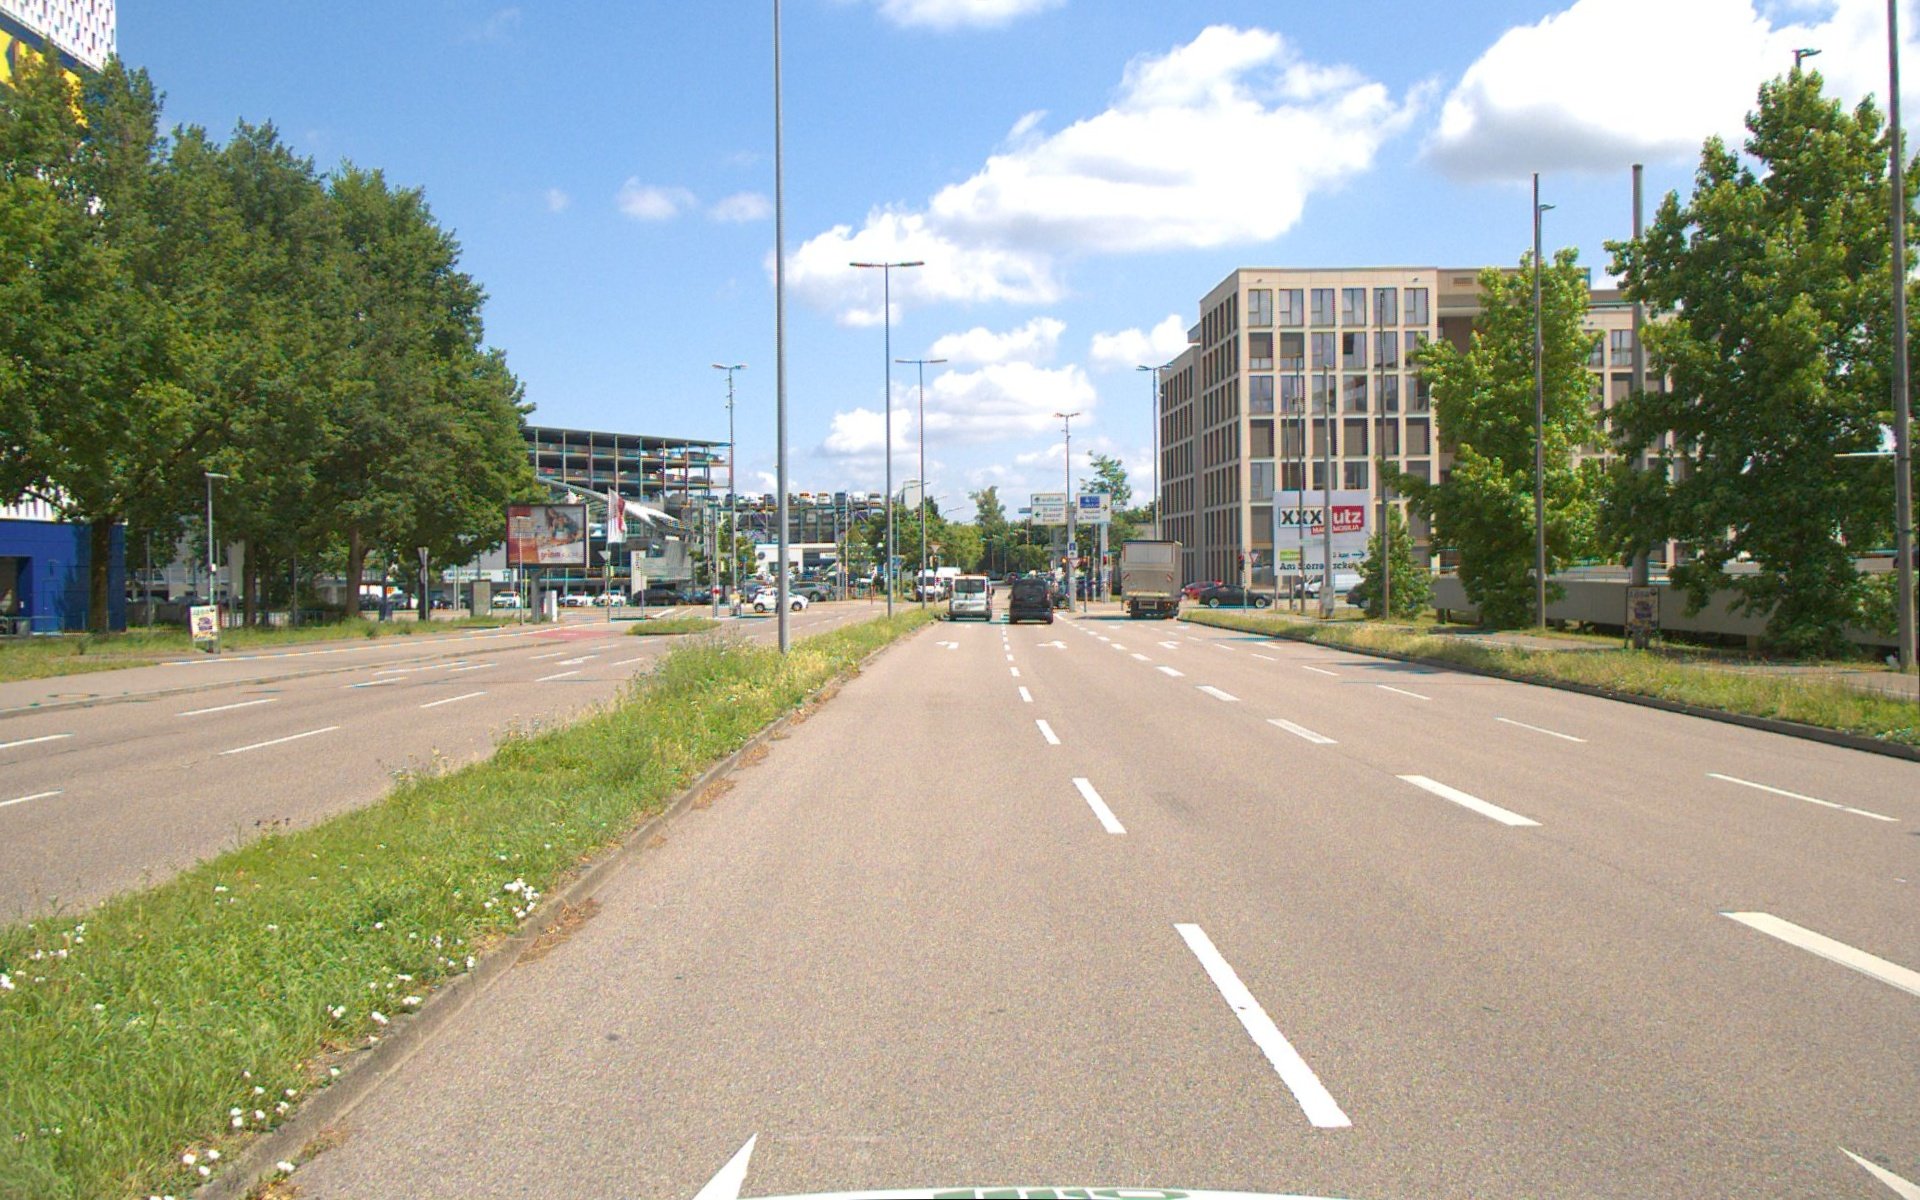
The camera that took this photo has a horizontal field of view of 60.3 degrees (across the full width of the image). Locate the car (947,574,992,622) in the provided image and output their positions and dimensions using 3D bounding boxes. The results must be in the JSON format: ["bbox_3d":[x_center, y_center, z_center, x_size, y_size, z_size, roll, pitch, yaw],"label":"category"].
[{"bbox_3d":[0.464,-0.125,74.361,1.817,2.053,4.002,0,1,3],"label":"car"}]

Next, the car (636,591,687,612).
[{"bbox_3d":[-22.905,0.128,127.040,3.717,1.539,1.678,-1,1,-4],"label":"car"}]

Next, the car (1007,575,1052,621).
[{"bbox_3d":[2.949,-0.110,69.371,1.781,1.840,4.002,0,1,4],"label":"car"}]

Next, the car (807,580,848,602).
[{"bbox_3d":[-11.507,-0.811,143.787,3.438,1.742,1.603,-2,1,-3],"label":"car"}]

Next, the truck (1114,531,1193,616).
[{"bbox_3d":[9.897,-1.413,83.583,3.063,4.008,8.867,1,2,12],"label":"truck"}]

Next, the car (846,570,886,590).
[{"bbox_3d":[-9.381,-2.007,164.285,3.909,1.959,1.825,0,0,-5],"label":"car"}]

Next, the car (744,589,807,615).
[{"bbox_3d":[-11.432,0.106,102.444,3.775,1.492,1.694,-1,1,-4],"label":"car"}]

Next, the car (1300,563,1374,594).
[{"bbox_3d":[28.680,-1.631,125.894,5.379,2.294,2.002,0,1,10],"label":"car"}]

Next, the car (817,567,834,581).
[{"bbox_3d":[-15.026,-2.930,184.976,1.809,1.556,3.998,-1,1,-3],"label":"car"}]

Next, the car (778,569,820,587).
[{"bbox_3d":[-15.966,-2.202,163.746,4.083,1.742,1.687,1,1,-5],"label":"car"}]

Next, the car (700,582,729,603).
[{"bbox_3d":[-19.000,-0.592,127.785,1.787,1.579,3.983,0,1,-15],"label":"car"}]

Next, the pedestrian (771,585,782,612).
[{"bbox_3d":[-10.456,-0.077,94.305,0.460,1.538,0.511,0,0,26],"label":"pedestrian"}]

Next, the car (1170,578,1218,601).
[{"bbox_3d":[16.640,-0.775,117.919,3.206,1.428,1.335,0,10,-1],"label":"car"}]

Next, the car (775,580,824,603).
[{"bbox_3d":[-12.889,-0.658,132.836,3.784,1.668,1.857,-2,1,-3],"label":"car"}]
